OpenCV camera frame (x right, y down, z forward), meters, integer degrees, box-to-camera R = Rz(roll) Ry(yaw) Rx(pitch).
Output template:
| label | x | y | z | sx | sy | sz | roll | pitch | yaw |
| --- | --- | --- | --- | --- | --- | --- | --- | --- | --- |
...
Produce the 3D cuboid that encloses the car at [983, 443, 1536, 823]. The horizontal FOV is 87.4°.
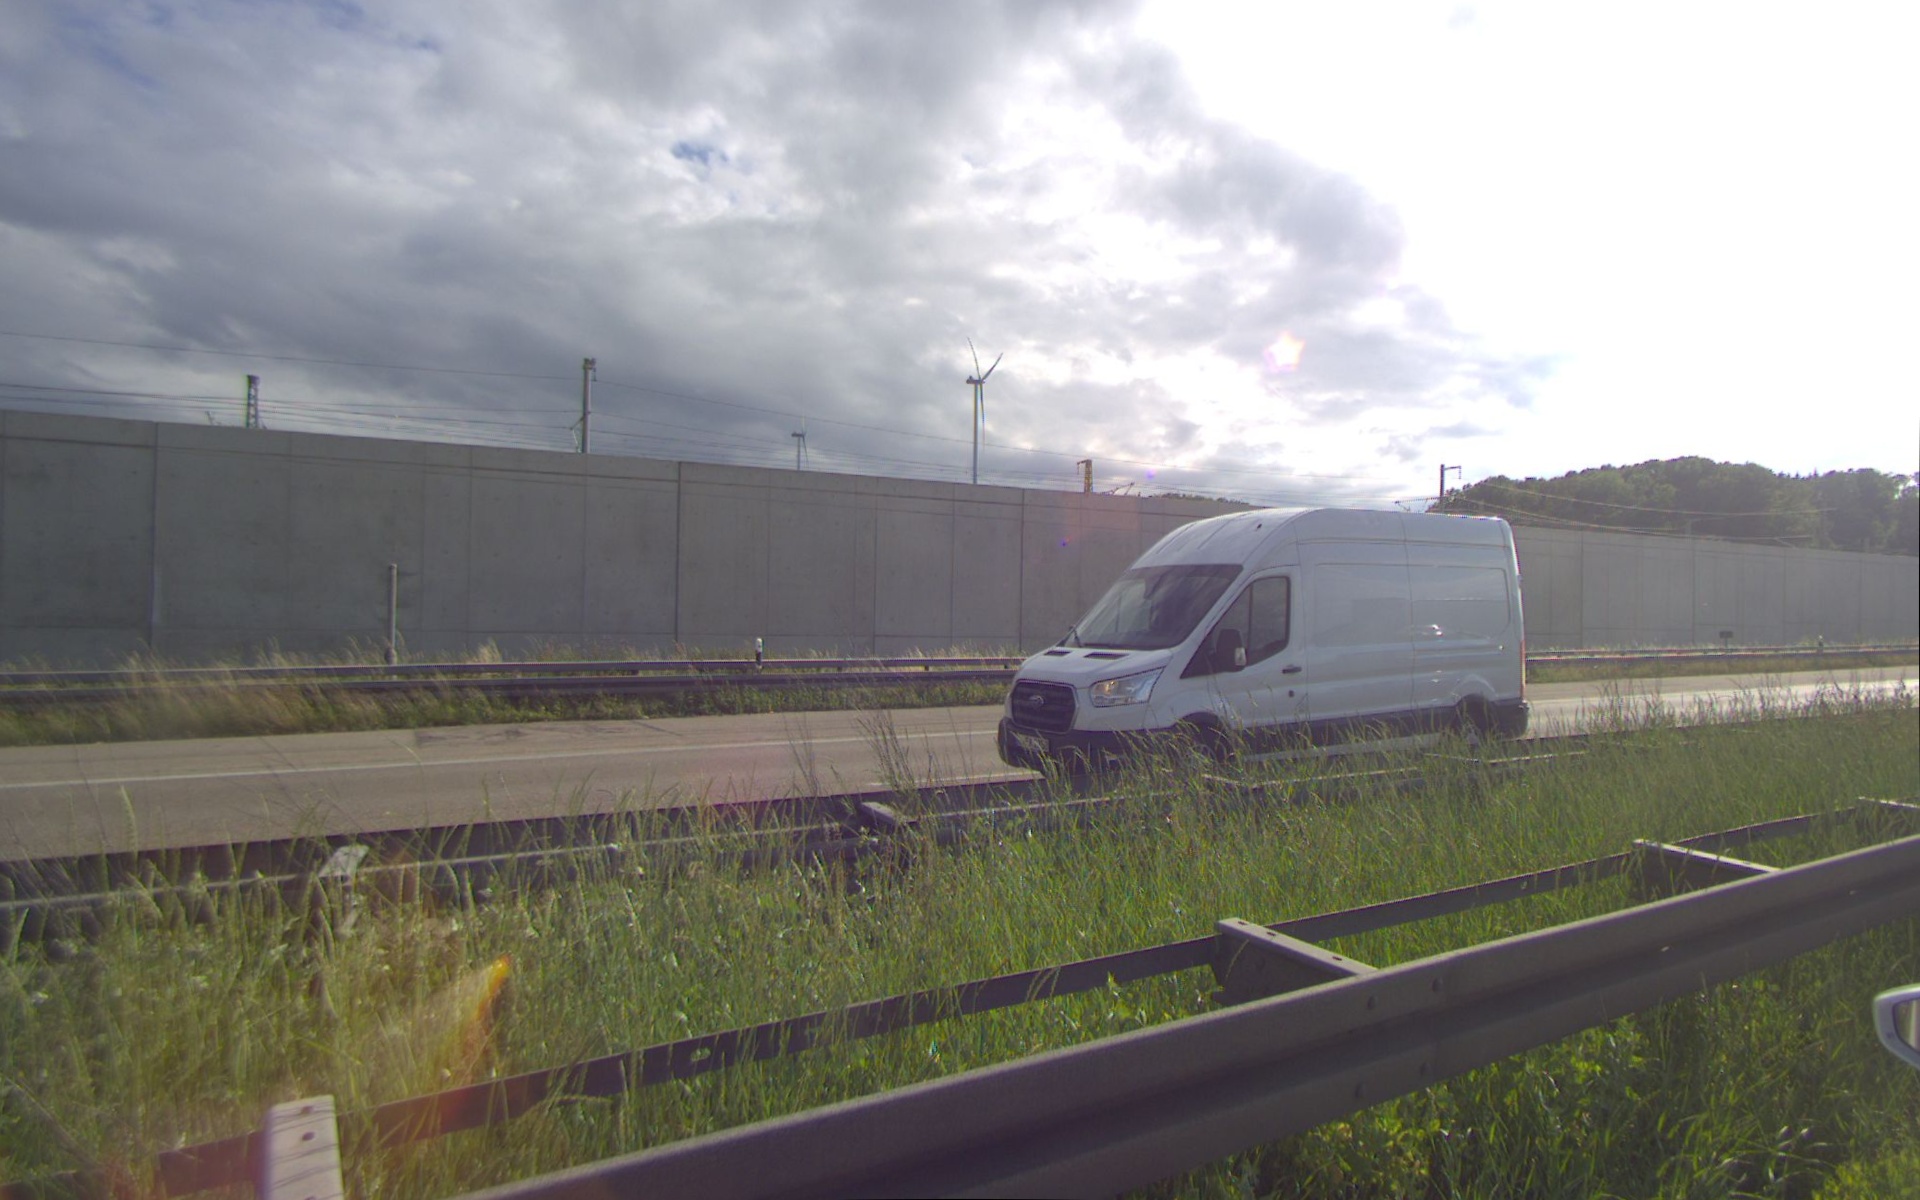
| label | x | y | z | sx | sy | sz | roll | pitch | yaw |
| --- | --- | --- | --- | --- | --- | --- | --- | --- | --- |
| car | 3.147 | 0.328 | 10.038 | 5.571 | 2.908 | 2.093 | 2 | -1 | -31 |
